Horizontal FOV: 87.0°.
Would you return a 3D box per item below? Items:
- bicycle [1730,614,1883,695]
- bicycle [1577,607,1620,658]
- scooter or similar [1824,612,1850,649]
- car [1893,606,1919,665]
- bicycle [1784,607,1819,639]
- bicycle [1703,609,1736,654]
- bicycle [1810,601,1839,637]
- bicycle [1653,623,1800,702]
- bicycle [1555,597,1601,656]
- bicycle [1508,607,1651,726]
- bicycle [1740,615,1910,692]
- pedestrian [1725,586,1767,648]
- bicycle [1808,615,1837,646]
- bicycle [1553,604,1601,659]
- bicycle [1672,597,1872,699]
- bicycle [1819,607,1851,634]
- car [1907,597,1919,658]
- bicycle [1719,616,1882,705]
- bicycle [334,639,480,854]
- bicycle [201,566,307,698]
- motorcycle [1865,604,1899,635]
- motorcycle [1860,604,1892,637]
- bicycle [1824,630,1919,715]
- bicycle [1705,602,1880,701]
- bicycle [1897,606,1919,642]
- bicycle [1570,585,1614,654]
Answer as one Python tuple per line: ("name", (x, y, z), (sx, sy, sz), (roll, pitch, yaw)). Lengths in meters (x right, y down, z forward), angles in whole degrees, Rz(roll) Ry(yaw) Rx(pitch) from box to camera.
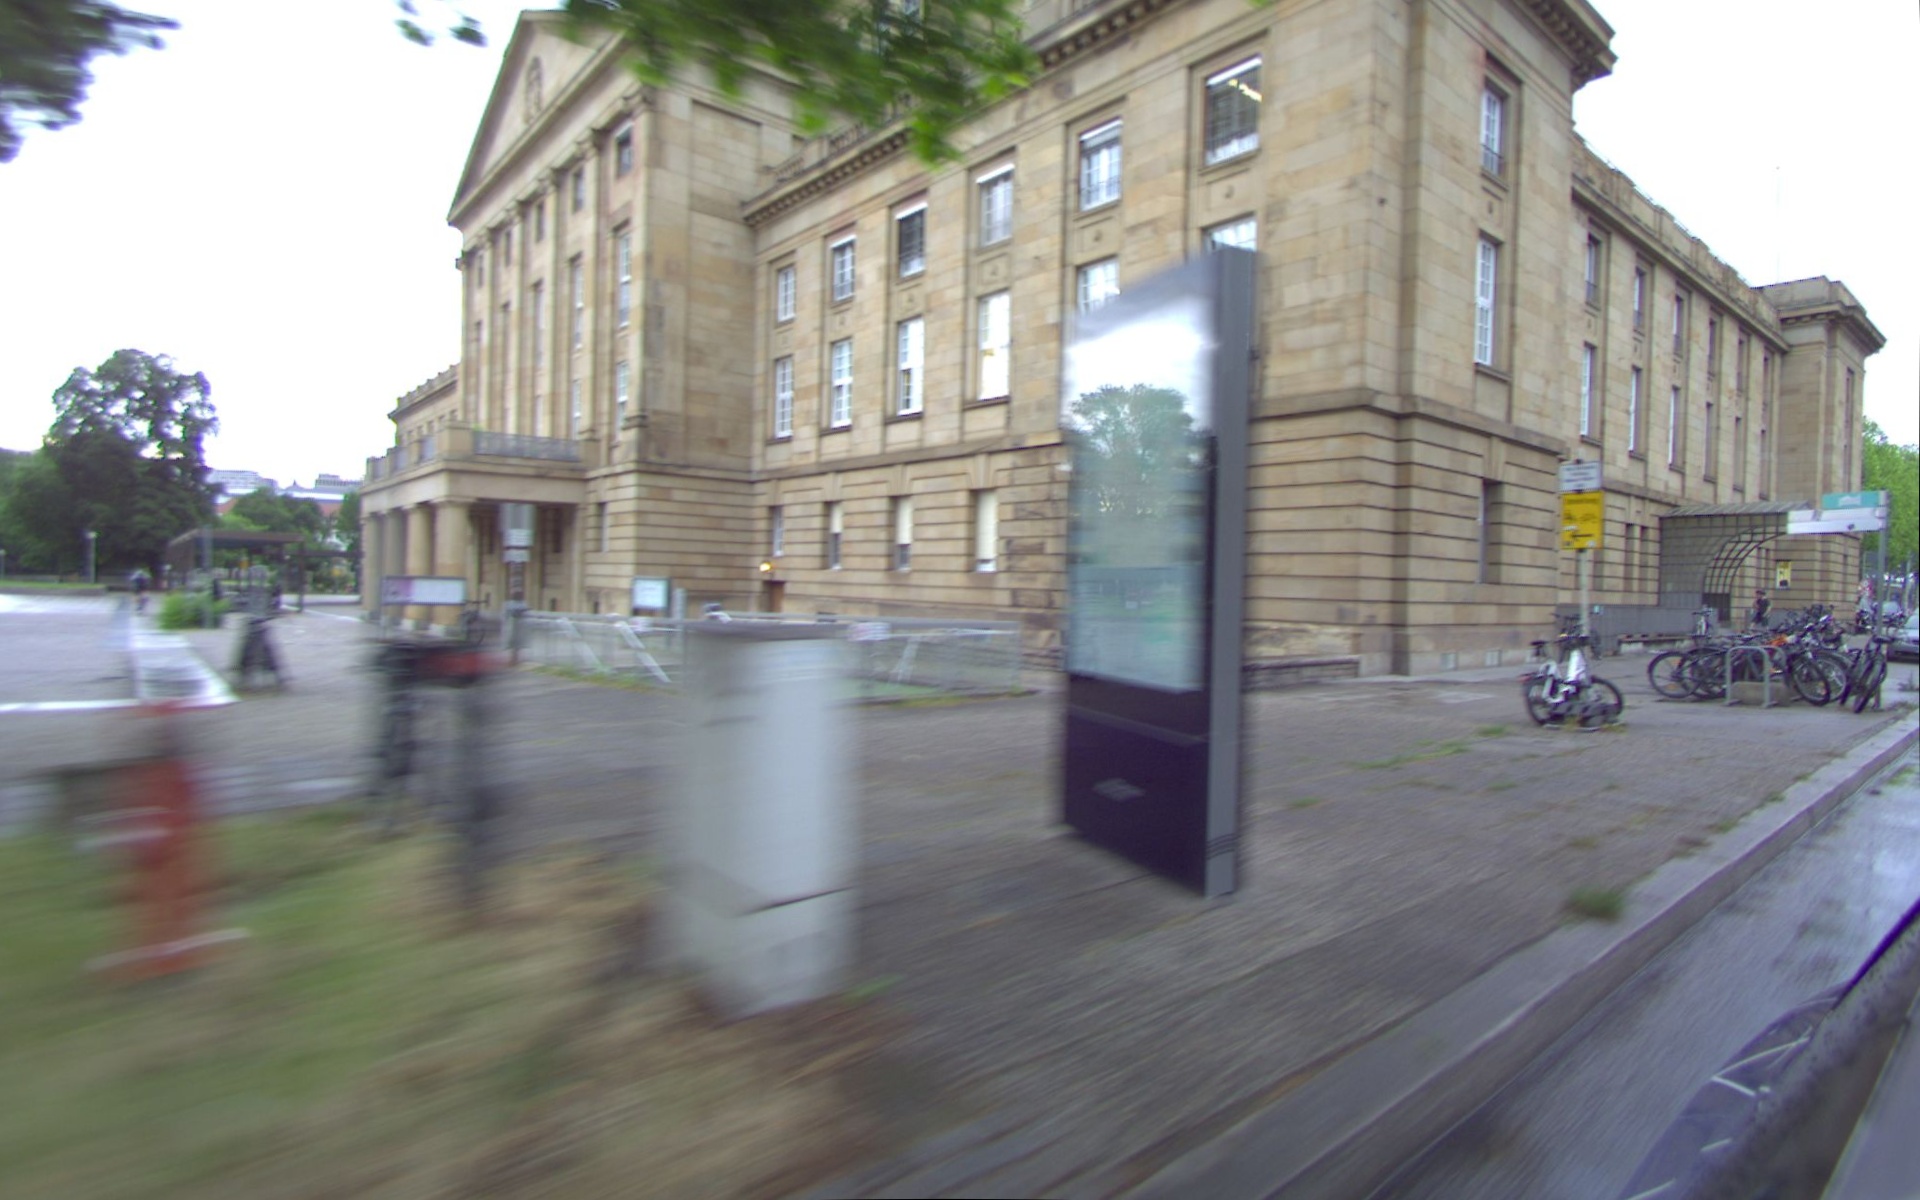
("bicycle", (12.780, 0.794, 15.327), (0.639, 1.104, 1.683), (0, 1, -38))
("bicycle", (14.394, 0.719, 22.792), (1.758, 1.093, 0.352), (0, 0, -42))
("scooter or similar", (35.293, 1.226, 40.743), (1.244, 1.433, 0.414), (0, 6, -37))
("car", (26.838, 0.945, 27.405), (3.638, 1.496, 1.935), (0, 1, -41))
("bicycle", (28.942, 0.787, 34.803), (1.727, 1.051, 0.585), (0, 1, -39))
("bicycle", (21.768, 0.877, 28.995), (1.663, 1.230, 0.464), (0, 1, -43))
("bicycle", (32.473, 0.713, 38.013), (0.730, 1.284, 1.731), (2, 2, 44))
("bicycle", (10.877, 0.862, 14.408), (0.515, 1.007, 1.593), (1, 0, -38))
("bicycle", (13.720, 0.577, 22.467), (1.573, 1.267, 0.454), (0, -1, -43))
("bicycle", (7.023, 0.708, 11.447), (1.868, 1.212, 0.607), (0, 3, -34))
("bicycle", (13.721, 0.815, 16.101), (0.747, 1.073, 1.987), (0, 1, -43))
("pedestrian", (23.940, 0.502, 30.844), (0.631, 1.798, 0.797), (0, 4, -41))
("bicycle", (31.215, 1.091, 36.621), (0.712, 1.064, 1.713), (1, 1, 44))
("bicycle", (13.235, 0.661, 21.701), (1.759, 1.093, 0.353), (-1, 3, -42))
("bicycle", (11.822, 0.654, 14.821), (0.639, 1.353, 2.196), (0, 1, -38))
("bicycle", (35.702, 0.813, 41.286), (1.736, 1.063, 0.420), (0, 1, -28))
("car", (30.514, 0.820, 30.759), (4.113, 1.803, 1.998), (0, 1, -39))
("bicycle", (11.875, 0.822, 14.345), (0.590, 1.136, 1.683), (1, 0, -38))
("bicycle", (-3.294, 0.772, 5.957), (0.564, 1.033, 1.645), (0, -1, -35))
("bicycle", (-9.778, 0.382, 13.976), (2.315, 1.687, 0.763), (1, 1, 44))
("motorcycle", (41.097, 0.861, 45.101), (1.766, 1.315, 0.809), (0, 1, -38))
("motorcycle", (39.531, 0.864, 43.660), (2.095, 1.342, 0.669), (0, 1, -38))
("bicycle", (11.863, 0.896, 12.911), (1.603, 0.980, 0.672), (0, 0, -26))
("bicycle", (12.367, 0.732, 15.092), (0.638, 1.349, 1.911), (3, -1, -38))
("bicycle", (34.850, 0.856, 36.909), (0.774, 1.233, 1.939), (3, 3, 38))
("bicycle", (14.527, 0.444, 23.243), (1.572, 1.535, 0.454), (1, -1, -43))
